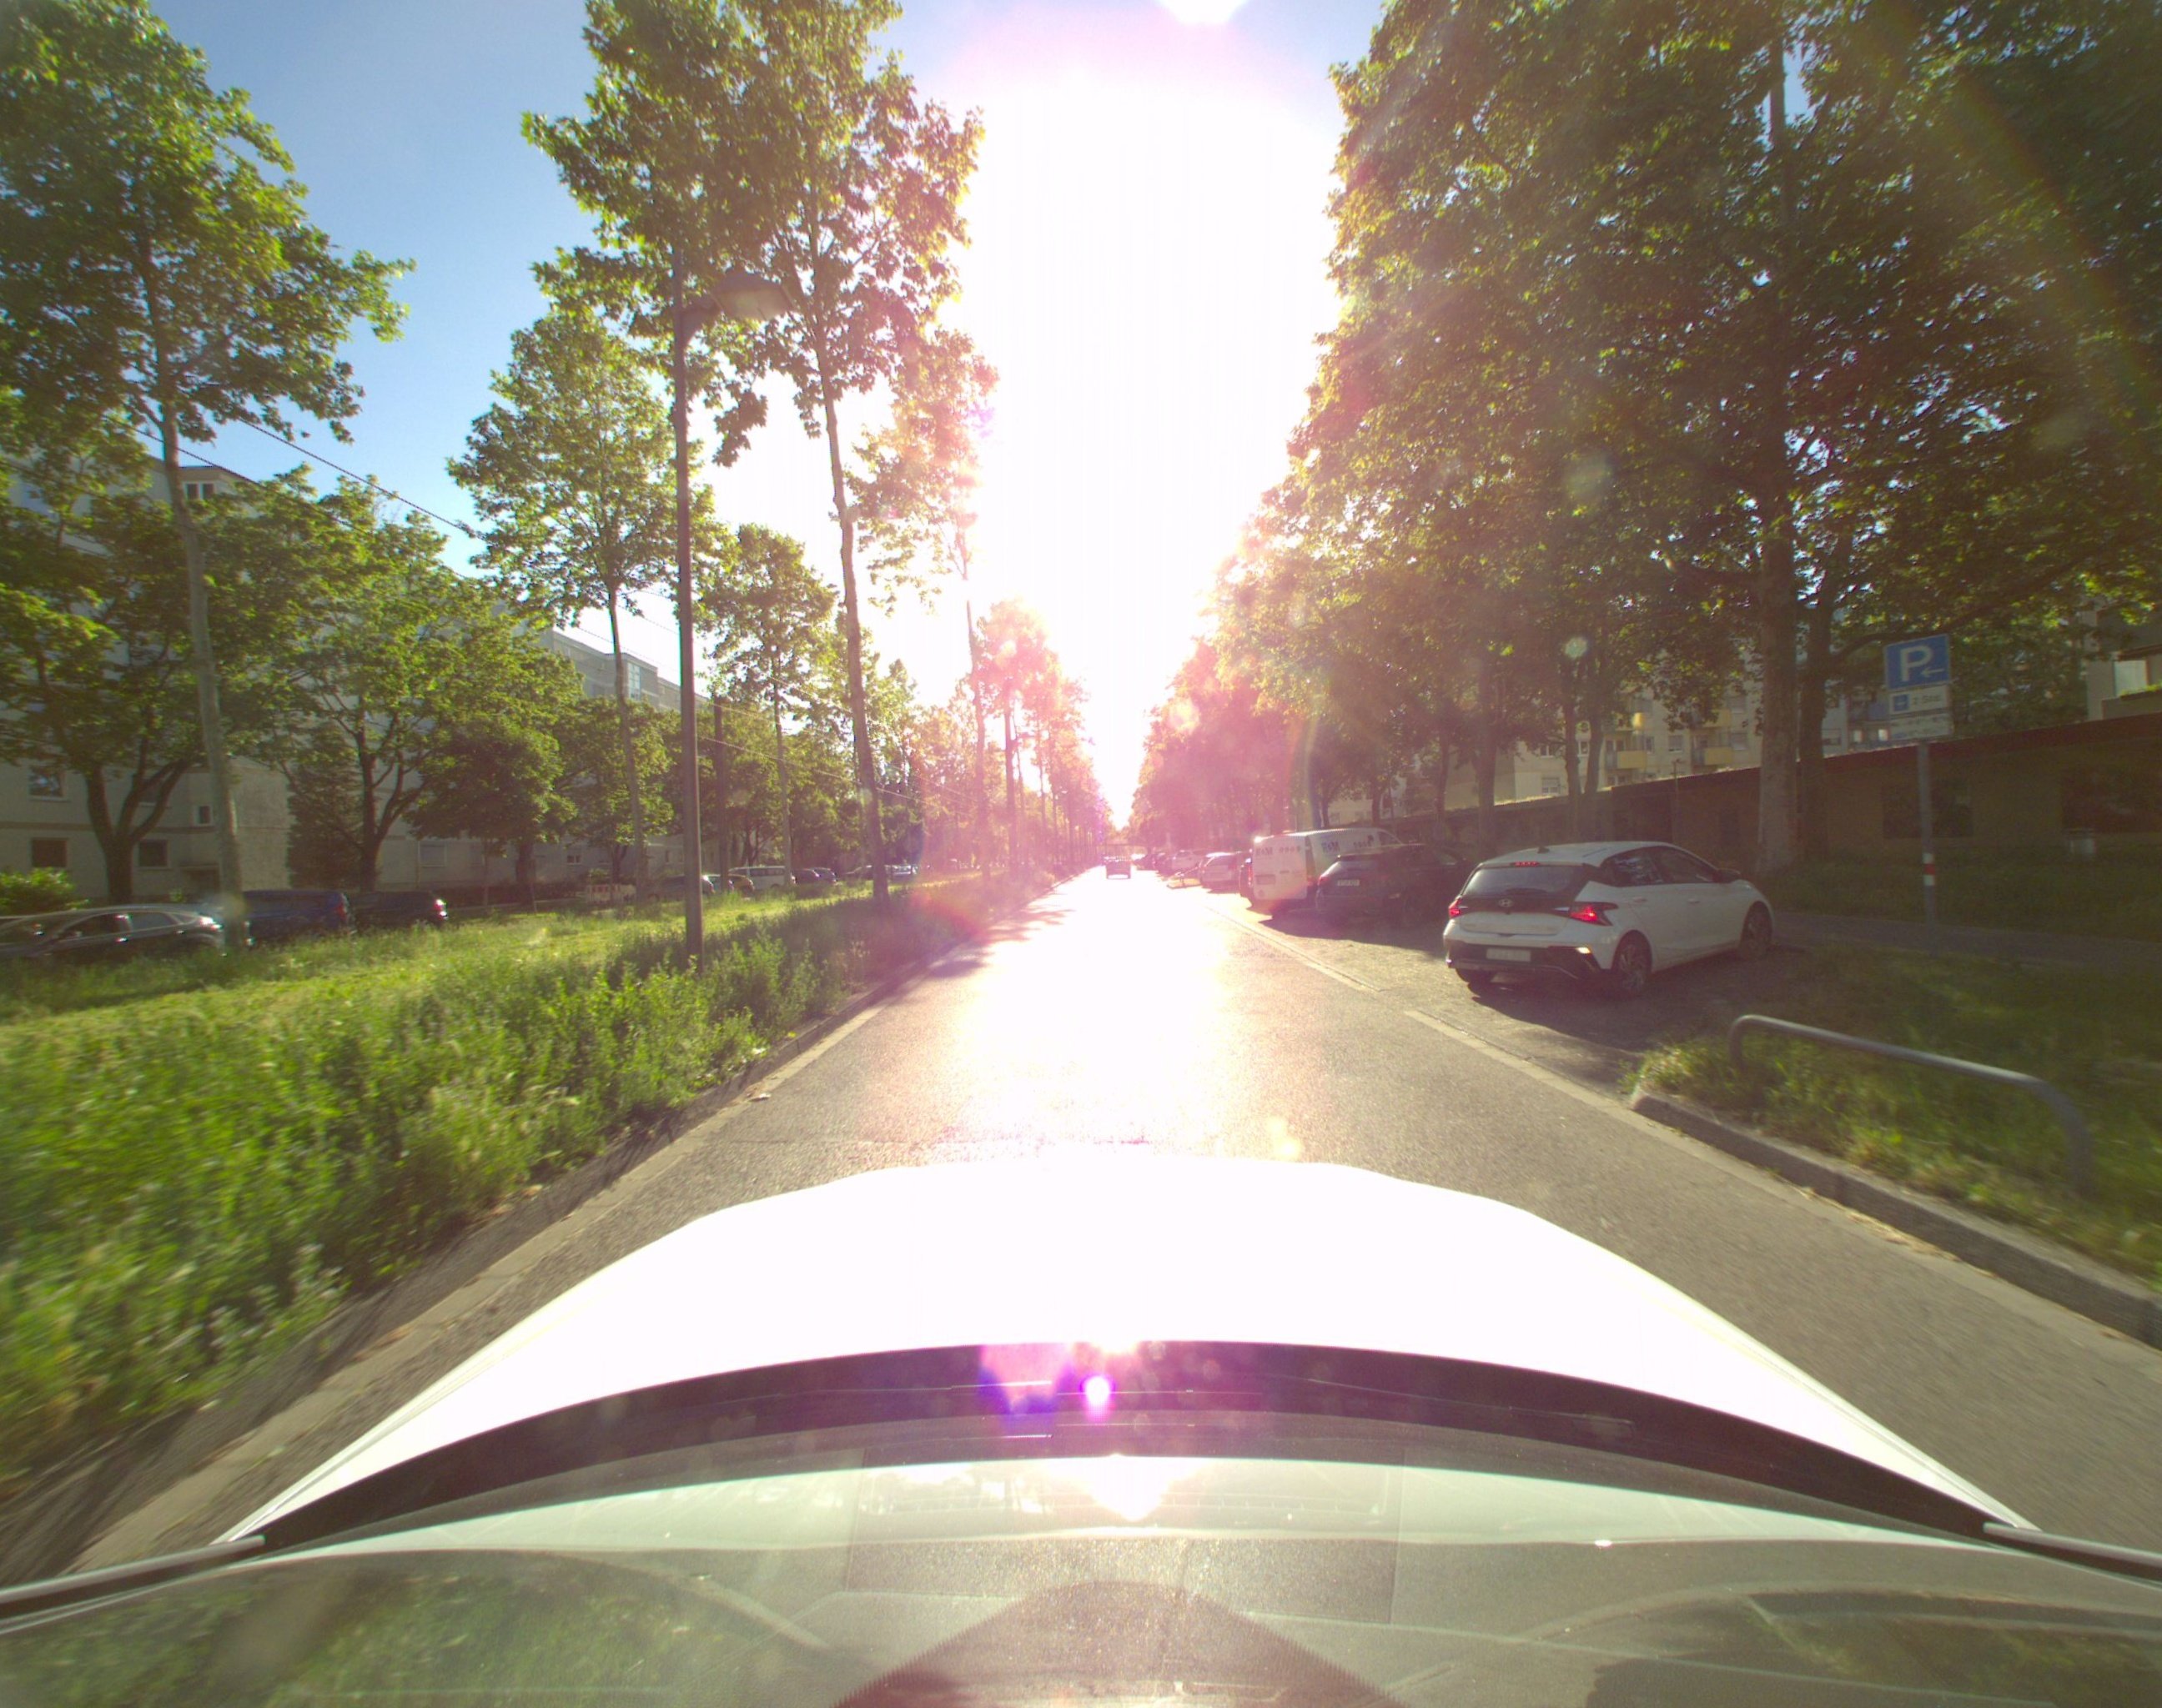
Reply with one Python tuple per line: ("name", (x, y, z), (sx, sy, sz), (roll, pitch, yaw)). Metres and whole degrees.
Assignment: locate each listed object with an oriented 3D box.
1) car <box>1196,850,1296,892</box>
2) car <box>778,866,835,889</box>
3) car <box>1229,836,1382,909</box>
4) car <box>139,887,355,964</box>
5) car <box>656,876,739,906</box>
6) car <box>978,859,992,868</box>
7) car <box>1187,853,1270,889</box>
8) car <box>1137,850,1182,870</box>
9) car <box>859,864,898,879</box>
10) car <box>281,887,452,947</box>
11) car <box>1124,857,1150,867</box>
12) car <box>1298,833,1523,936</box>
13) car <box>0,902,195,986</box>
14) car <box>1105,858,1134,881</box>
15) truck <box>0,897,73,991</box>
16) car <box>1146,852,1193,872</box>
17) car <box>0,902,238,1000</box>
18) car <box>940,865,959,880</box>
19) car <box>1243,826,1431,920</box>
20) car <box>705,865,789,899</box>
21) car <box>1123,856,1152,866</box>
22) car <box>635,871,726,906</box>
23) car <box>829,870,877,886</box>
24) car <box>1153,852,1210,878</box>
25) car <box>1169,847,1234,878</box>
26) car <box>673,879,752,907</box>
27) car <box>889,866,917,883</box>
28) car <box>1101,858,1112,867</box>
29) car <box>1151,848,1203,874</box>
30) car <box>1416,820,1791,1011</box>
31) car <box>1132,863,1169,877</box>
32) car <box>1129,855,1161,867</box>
("car", (6.738, 0.685, 33.034), (4.208, 1.412, 1.700), (-3, -1, -42))
("car", (-21.590, 1.826, 64.221), (4.078, 1.607, 1.985), (-2, 1, -15))
("car", (6.351, 0.479, 22.760), (4.526, 1.705, 1.740), (-3, -1, -39))
("car", (-23.374, 1.926, 23.042), (4.109, 1.645, 1.631), (-3, 2, -44))
("car", (-22.430, 2.136, 47.709), (4.106, 1.483, 1.632), (-2, -1, -40))
("car", (-18.512, 1.798, 157.020), (1.985, 1.590, 4.172), (0, 0, 4))
("car", (6.761, 0.751, 37.141), (3.961, 1.373, 1.568), (-3, -1, -42))
("car", (7.688, 0.564, 79.421), (4.341, 1.717, 1.617), (-2, 0, -37))
("car", (-26.039, 2.192, 104.660), (4.511, 1.675, 1.774), (-2, -1, -41))
("car", (-23.423, 2.005, 26.816), (1.631, 1.475, 4.109), (3, 4, 45))
("car", (9.955, 1.375, 144.351), (4.649, 1.680, 1.835), (-1, -1, -41))
("car", (6.299, 0.522, 15.482), (4.011, 1.429, 1.782), (-6, 1, -30))
("car", (-23.719, 2.079, 18.972), (1.630, 1.646, 4.110), (-3, -1, 43))
("car", (2.616, 1.050, 56.465), (1.915, 1.411, 4.001), (-2, 0, 1))
("truck", (-22.988, 1.836, 15.737), (4.101, 1.775, 1.634), (-1, -1, -34))
("car", (8.344, 0.765, 76.532), (4.101, 1.582, 1.763), (-3, -1, -33))
("car", (-18.628, 1.741, 14.840), (1.985, 1.389, 4.172), (-3, 0, 4))
("car", (-19.011, 2.620, 117.686), (1.638, 2.093, 4.920), (0, 0, 4))
("car", (6.095, 0.387, 19.125), (4.694, 1.853, 1.809), (-3, -1, -38))
("car", (-22.303, 1.820, 54.461), (4.820, 2.006, 1.871), (-2, 1, -37))
("car", (9.014, 1.106, 129.403), (4.651, 1.459, 1.955), (-2, -1, -44))
("car", (-21.793, 1.881, 44.382), (4.106, 1.646, 1.632), (-2, -2, -40))
("car", (-22.419, 2.362, 80.076), (4.154, 1.337, 1.774), (-2, 1, -41))
("car", (6.850, 0.740, 55.152), (3.808, 1.470, 1.631), (-3, -1, -42))
("car", (7.643, 0.517, 51.584), (4.049, 1.705, 1.740), (-3, -1, -39))
("car", (-22.743, 2.391, 50.343), (4.108, 1.432, 1.560), (-2, -2, -42))
("car", (-16.797, 1.890, 77.094), (1.640, 1.485, 3.851), (-3, -1, 2))
("car", (4.388, 1.446, 139.690), (1.842, 1.535, 3.869), (-2, 0, 2))
("car", (7.693, 0.528, 65.308), (4.105, 1.811, 1.632), (-3, -1, -38))
("car", (5.797, 0.532, 8.948), (4.011, 1.469, 1.744), (-5, 0, -30))
("car", (8.587, 2.003, 100.424), (4.519, 1.443, 1.834), (-3, -1, -42))
("car", (8.702, 0.925, 110.468), (4.353, 1.424, 1.834), (-3, -1, -42))
